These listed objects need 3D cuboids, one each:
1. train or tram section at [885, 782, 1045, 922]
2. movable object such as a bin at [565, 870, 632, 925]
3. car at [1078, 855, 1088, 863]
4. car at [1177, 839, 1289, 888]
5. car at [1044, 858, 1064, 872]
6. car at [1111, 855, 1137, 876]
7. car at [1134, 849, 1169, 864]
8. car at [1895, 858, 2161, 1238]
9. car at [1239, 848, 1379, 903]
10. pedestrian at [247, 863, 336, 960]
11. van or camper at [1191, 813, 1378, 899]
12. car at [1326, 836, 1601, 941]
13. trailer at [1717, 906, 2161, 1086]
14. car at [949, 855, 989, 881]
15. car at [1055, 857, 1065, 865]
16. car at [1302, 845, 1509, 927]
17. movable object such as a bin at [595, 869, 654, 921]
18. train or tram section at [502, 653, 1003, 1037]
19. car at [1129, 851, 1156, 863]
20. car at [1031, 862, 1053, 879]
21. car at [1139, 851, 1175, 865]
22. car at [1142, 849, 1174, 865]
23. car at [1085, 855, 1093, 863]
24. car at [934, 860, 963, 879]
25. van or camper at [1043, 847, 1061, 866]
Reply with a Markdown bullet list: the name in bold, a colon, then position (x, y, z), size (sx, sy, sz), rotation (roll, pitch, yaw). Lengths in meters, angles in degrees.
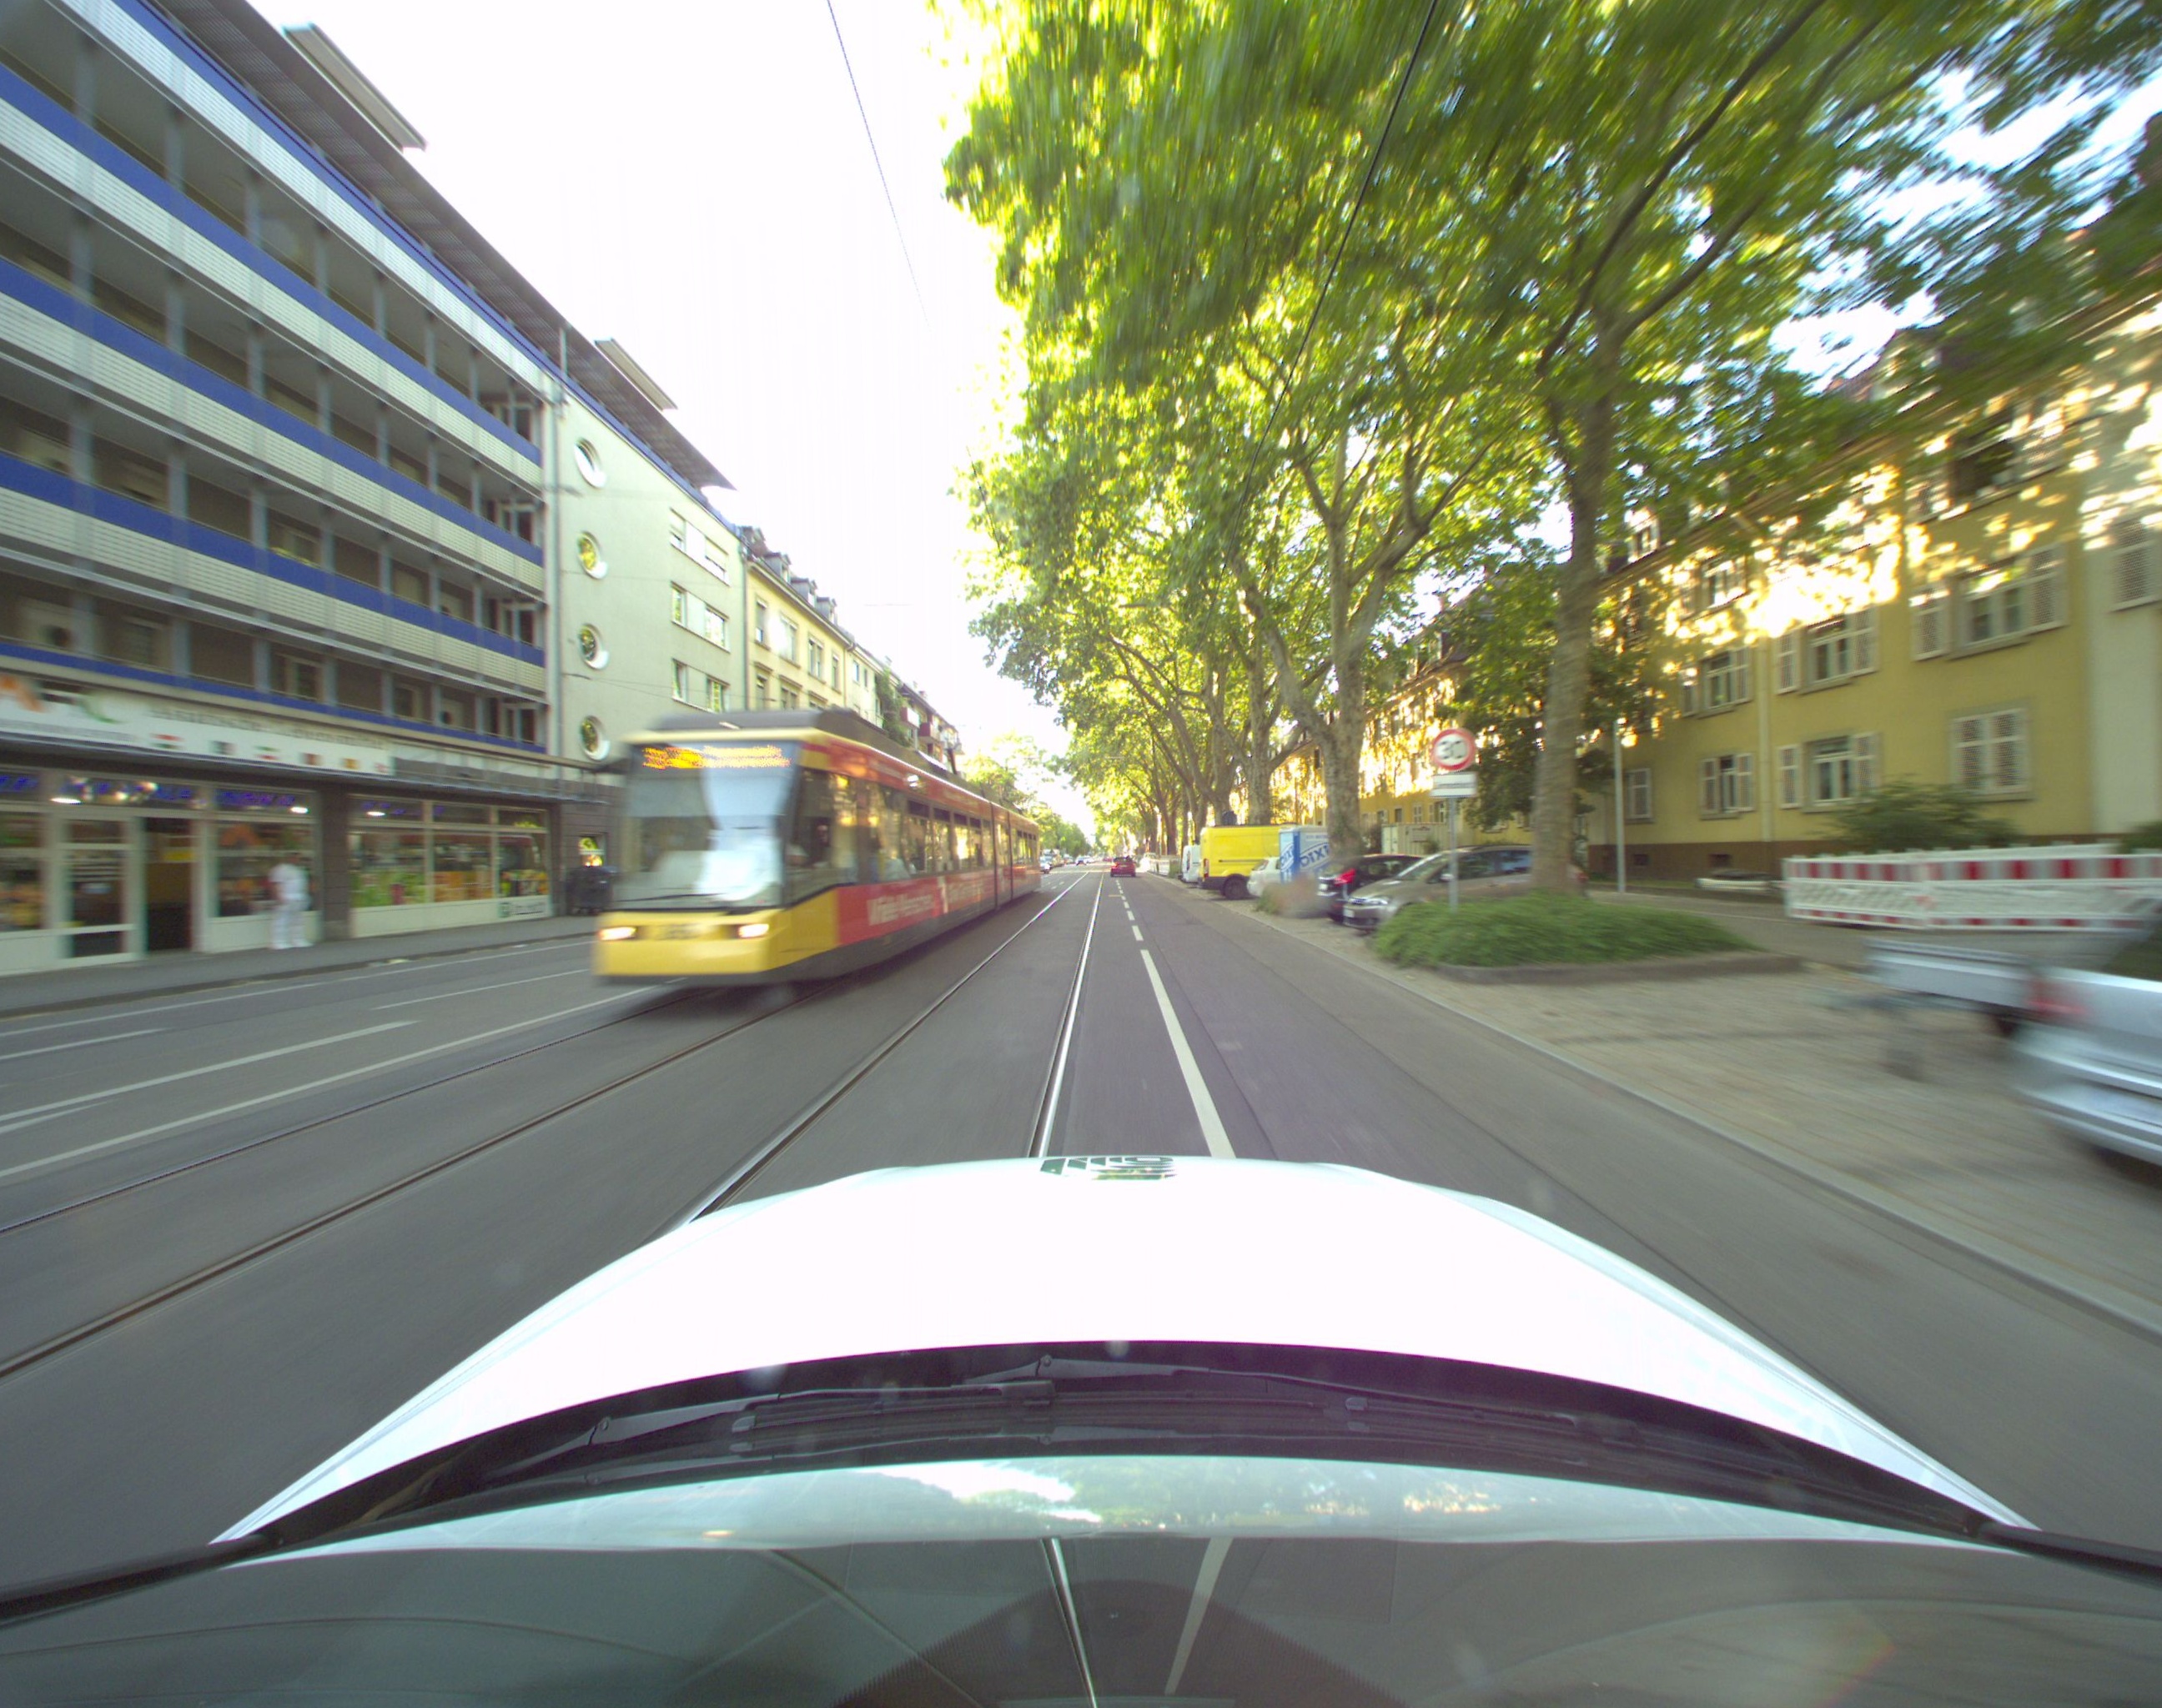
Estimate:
- **train or tram section**: position (-3.302, -0.052, 28.035), size (2.897, 3.486, 14.203), rotation (-2, 0, 2)
- **movable object such as a bin**: position (-13.641, 1.202, 23.071), size (1.136, 1.450, 1.213), rotation (-2, 0, -3)
- **car**: position (0.339, 0.934, 152.384), size (1.846, 1.600, 4.465), rotation (0, 0, 1)
- **car**: position (6.997, 0.425, 37.941), size (4.817, 2.013, 2.064), rotation (-3, 0, 1)
- **car**: position (-2.951, 1.188, 89.941), size (1.789, 1.445, 4.055), rotation (-3, 0, 2)
- **car**: position (3.022, 0.804, 57.733), size (1.785, 1.389, 4.239), rotation (-1, 0, 2)
- **car**: position (10.311, 0.366, 118.884), size (4.822, 1.963, 2.064), rotation (-2, 0, -1)
- **car**: position (6.091, 0.717, 3.290), size (3.637, 1.424, 1.867), rotation (-3, 0, 2)
- **car**: position (7.049, 0.658, 25.524), size (3.889, 1.489, 1.865), rotation (-3, 0, 3)
- **pedestrian**: position (-14.529, 1.039, 15.012), size (0.784, 1.713, 0.820), rotation (1, 0, 1)
- **van or camper**: position (6.930, 0.080, 28.352), size (5.900, 2.629, 2.272), rotation (-3, -1, 3)
- **car**: position (6.753, 0.586, 14.725), size (4.062, 1.549, 1.831), rotation (-3, 0, 1)
- **trailer**: position (6.678, 0.959, 5.816), size (3.023, 0.903, 1.440), rotation (-4, 0, 8)
- **car**: position (-7.542, 0.916, 55.147), size (1.945, 1.648, 4.882), rotation (0, -1, 1)
- **car**: position (-4.033, 1.331, 160.207), size (1.830, 1.468, 5.068), rotation (1, 0, 0)
- **car**: position (6.775, 0.642, 17.265), size (3.643, 1.426, 1.736), rotation (-3, 0, -2)
- **movable object such as a bin**: position (-13.711, 1.206, 24.496), size (1.054, 1.450, 1.210), rotation (-2, 0, -2)
- **train or tram section**: position (-3.729, -0.082, 14.312), size (2.897, 3.486, 13.374), rotation (-2, 0, 2)
- **car**: position (10.417, 0.492, 138.160), size (4.474, 1.602, 2.030), rotation (-4, -1, 5)
- **car**: position (-3.615, 1.537, 76.447), size (1.789, 1.446, 4.717), rotation (0, 0, 1)
- **car**: position (9.225, 0.534, 99.119), size (4.074, 1.521, 1.916), rotation (-2, -1, 0)
- **car**: position (9.779, 0.391, 103.392), size (3.825, 1.772, 1.919), rotation (-2, 0, 5)
- **car**: position (1.899, 1.261, 195.354), size (1.884, 1.832, 4.897), rotation (-2, 0, 1)
- **car**: position (-15.768, 1.885, 96.679), size (2.004, 2.123, 4.682), rotation (-1, -1, -26)
- **van or camper**: position (-4.822, 0.469, 137.004), size (2.328, 3.041, 6.401), rotation (1, 0, 3)
